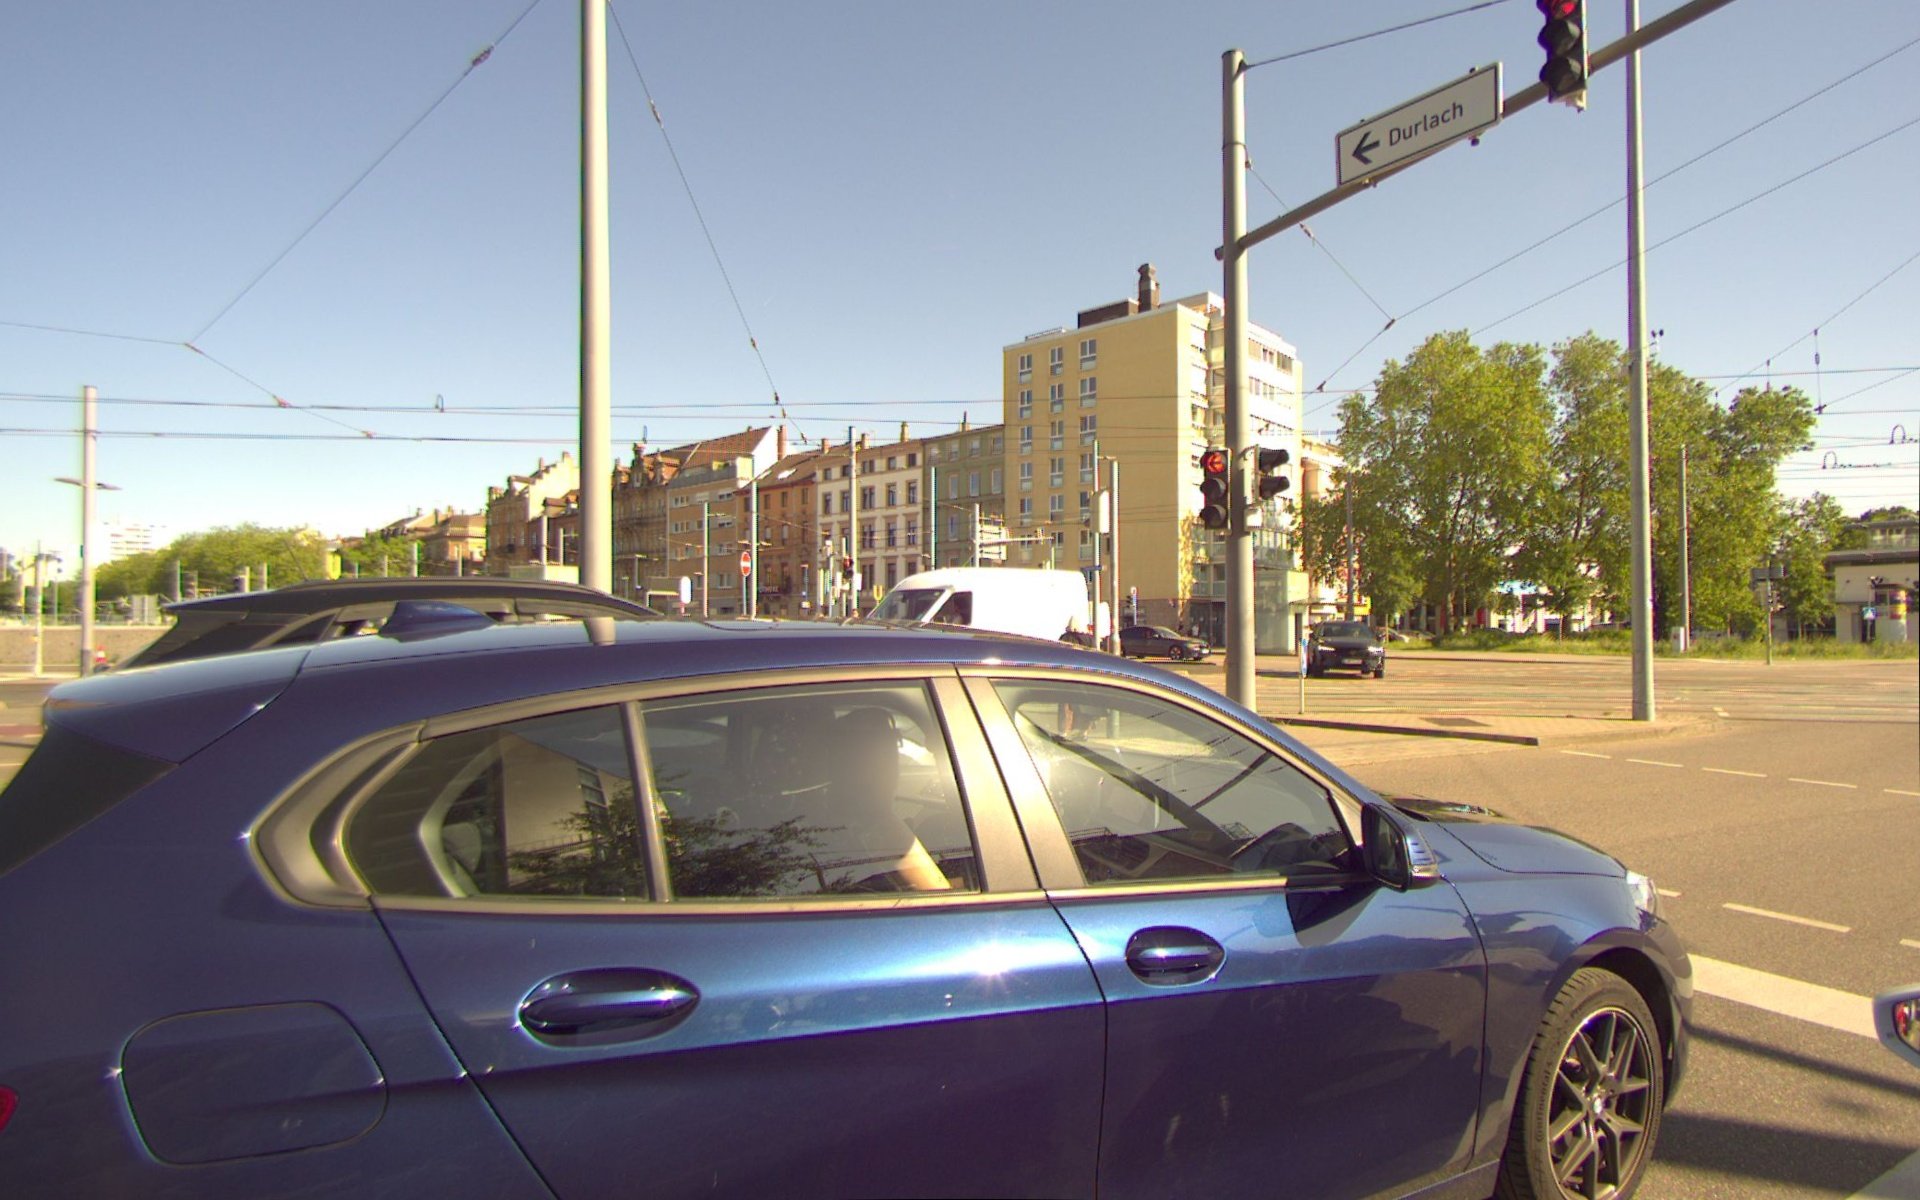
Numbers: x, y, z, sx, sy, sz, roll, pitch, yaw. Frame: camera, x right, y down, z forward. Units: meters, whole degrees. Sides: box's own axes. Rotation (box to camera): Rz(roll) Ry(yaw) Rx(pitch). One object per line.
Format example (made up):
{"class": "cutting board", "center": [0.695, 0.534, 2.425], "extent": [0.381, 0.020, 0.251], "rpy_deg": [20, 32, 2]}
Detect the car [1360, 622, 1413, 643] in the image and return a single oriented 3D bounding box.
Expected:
{"class": "car", "center": [34.922, 2.654, 82.218], "extent": [3.691, 1.684, 1.586], "rpy_deg": [-1, -2, 42]}

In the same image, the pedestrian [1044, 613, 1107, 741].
{"class": "pedestrian", "center": [1.443, 0.953, 12.580], "extent": [0.746, 1.575, 0.357], "rpy_deg": [0, -1, 1]}

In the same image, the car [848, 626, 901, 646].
{"class": "car", "center": [-6.310, 2.660, 74.432], "extent": [1.749, 1.446, 3.863], "rpy_deg": [-1, -2, 39]}

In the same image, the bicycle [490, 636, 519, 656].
{"class": "bicycle", "center": [-21.743, 2.186, 47.911], "extent": [0.674, 0.890, 1.874], "rpy_deg": [1, -2, -43]}

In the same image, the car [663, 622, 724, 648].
{"class": "car", "center": [-17.755, 2.324, 66.924], "extent": [4.244, 1.675, 1.849], "rpy_deg": [-2, -3, 41]}

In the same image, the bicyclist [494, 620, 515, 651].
{"class": "bicyclist", "center": [-21.732, 1.697, 47.943], "extent": [0.674, 1.474, 0.775], "rpy_deg": [1, -2, -43]}

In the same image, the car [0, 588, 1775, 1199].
{"class": "car", "center": [0.100, 0.753, 2.518], "extent": [3.984, 1.464, 1.703], "rpy_deg": [1, 0, -30]}

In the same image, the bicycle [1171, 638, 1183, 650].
{"class": "bicycle", "center": [13.874, 2.808, 64.220], "extent": [0.451, 0.790, 1.808], "rpy_deg": [-1, -2, 23]}

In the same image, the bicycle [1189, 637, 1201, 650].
{"class": "bicycle", "center": [14.934, 2.777, 63.911], "extent": [0.478, 0.822, 1.612], "rpy_deg": [-1, -2, 23]}

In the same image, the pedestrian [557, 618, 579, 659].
{"class": "pedestrian", "center": [-16.799, 1.659, 43.024], "extent": [0.672, 1.735, 0.793], "rpy_deg": [1, -1, -38]}

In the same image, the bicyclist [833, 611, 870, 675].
{"class": "bicyclist", "center": [-2.866, 1.130, 26.569], "extent": [0.672, 1.676, 0.777], "rpy_deg": [1, -1, -35]}

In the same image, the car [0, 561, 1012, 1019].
{"class": "car", "center": [-1.877, 0.675, 5.088], "extent": [3.959, 1.537, 1.751], "rpy_deg": [1, -1, -28]}

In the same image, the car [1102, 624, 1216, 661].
{"class": "car", "center": [8.526, 1.786, 43.199], "extent": [4.499, 1.521, 1.856], "rpy_deg": [-1, -2, 40]}

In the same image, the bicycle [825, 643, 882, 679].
{"class": "bicycle", "center": [-2.823, 1.598, 26.497], "extent": [0.672, 0.890, 1.880], "rpy_deg": [1, -2, -35]}

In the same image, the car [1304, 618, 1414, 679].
{"class": "car", "center": [11.748, 1.378, 29.462], "extent": [1.842, 1.681, 4.054], "rpy_deg": [-1, -2, 40]}

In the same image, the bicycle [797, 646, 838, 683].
{"class": "bicycle", "center": [-3.729, 1.673, 26.214], "extent": [0.668, 0.890, 1.889], "rpy_deg": [1, -2, -21]}

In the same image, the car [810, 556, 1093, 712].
{"class": "car", "center": [-0.001, 0.621, 18.828], "extent": [5.379, 2.541, 1.976], "rpy_deg": [1, -2, -42]}

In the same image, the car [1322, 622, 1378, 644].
{"class": "car", "center": [29.938, 2.519, 77.182], "extent": [3.691, 1.684, 1.586], "rpy_deg": [-1, -2, 42]}

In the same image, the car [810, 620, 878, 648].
{"class": "car", "center": [-7.184, 2.072, 62.049], "extent": [4.244, 1.675, 1.849], "rpy_deg": [-1, -2, 40]}

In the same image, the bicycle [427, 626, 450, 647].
{"class": "bicycle", "center": [-29.377, 2.042, 56.581], "extent": [0.673, 1.120, 1.875], "rpy_deg": [1, -2, -42]}

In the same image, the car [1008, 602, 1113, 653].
{"class": "car", "center": [5.641, 1.555, 57.047], "extent": [5.838, 2.780, 2.133], "rpy_deg": [-1, -2, 42]}

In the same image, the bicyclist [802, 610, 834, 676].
{"class": "bicyclist", "center": [-3.699, 1.116, 26.162], "extent": [0.668, 1.676, 0.781], "rpy_deg": [0, -1, -21]}

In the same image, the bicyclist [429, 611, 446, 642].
{"class": "bicyclist", "center": [-29.401, 1.514, 56.521], "extent": [0.673, 1.735, 0.610], "rpy_deg": [1, -2, -42]}
